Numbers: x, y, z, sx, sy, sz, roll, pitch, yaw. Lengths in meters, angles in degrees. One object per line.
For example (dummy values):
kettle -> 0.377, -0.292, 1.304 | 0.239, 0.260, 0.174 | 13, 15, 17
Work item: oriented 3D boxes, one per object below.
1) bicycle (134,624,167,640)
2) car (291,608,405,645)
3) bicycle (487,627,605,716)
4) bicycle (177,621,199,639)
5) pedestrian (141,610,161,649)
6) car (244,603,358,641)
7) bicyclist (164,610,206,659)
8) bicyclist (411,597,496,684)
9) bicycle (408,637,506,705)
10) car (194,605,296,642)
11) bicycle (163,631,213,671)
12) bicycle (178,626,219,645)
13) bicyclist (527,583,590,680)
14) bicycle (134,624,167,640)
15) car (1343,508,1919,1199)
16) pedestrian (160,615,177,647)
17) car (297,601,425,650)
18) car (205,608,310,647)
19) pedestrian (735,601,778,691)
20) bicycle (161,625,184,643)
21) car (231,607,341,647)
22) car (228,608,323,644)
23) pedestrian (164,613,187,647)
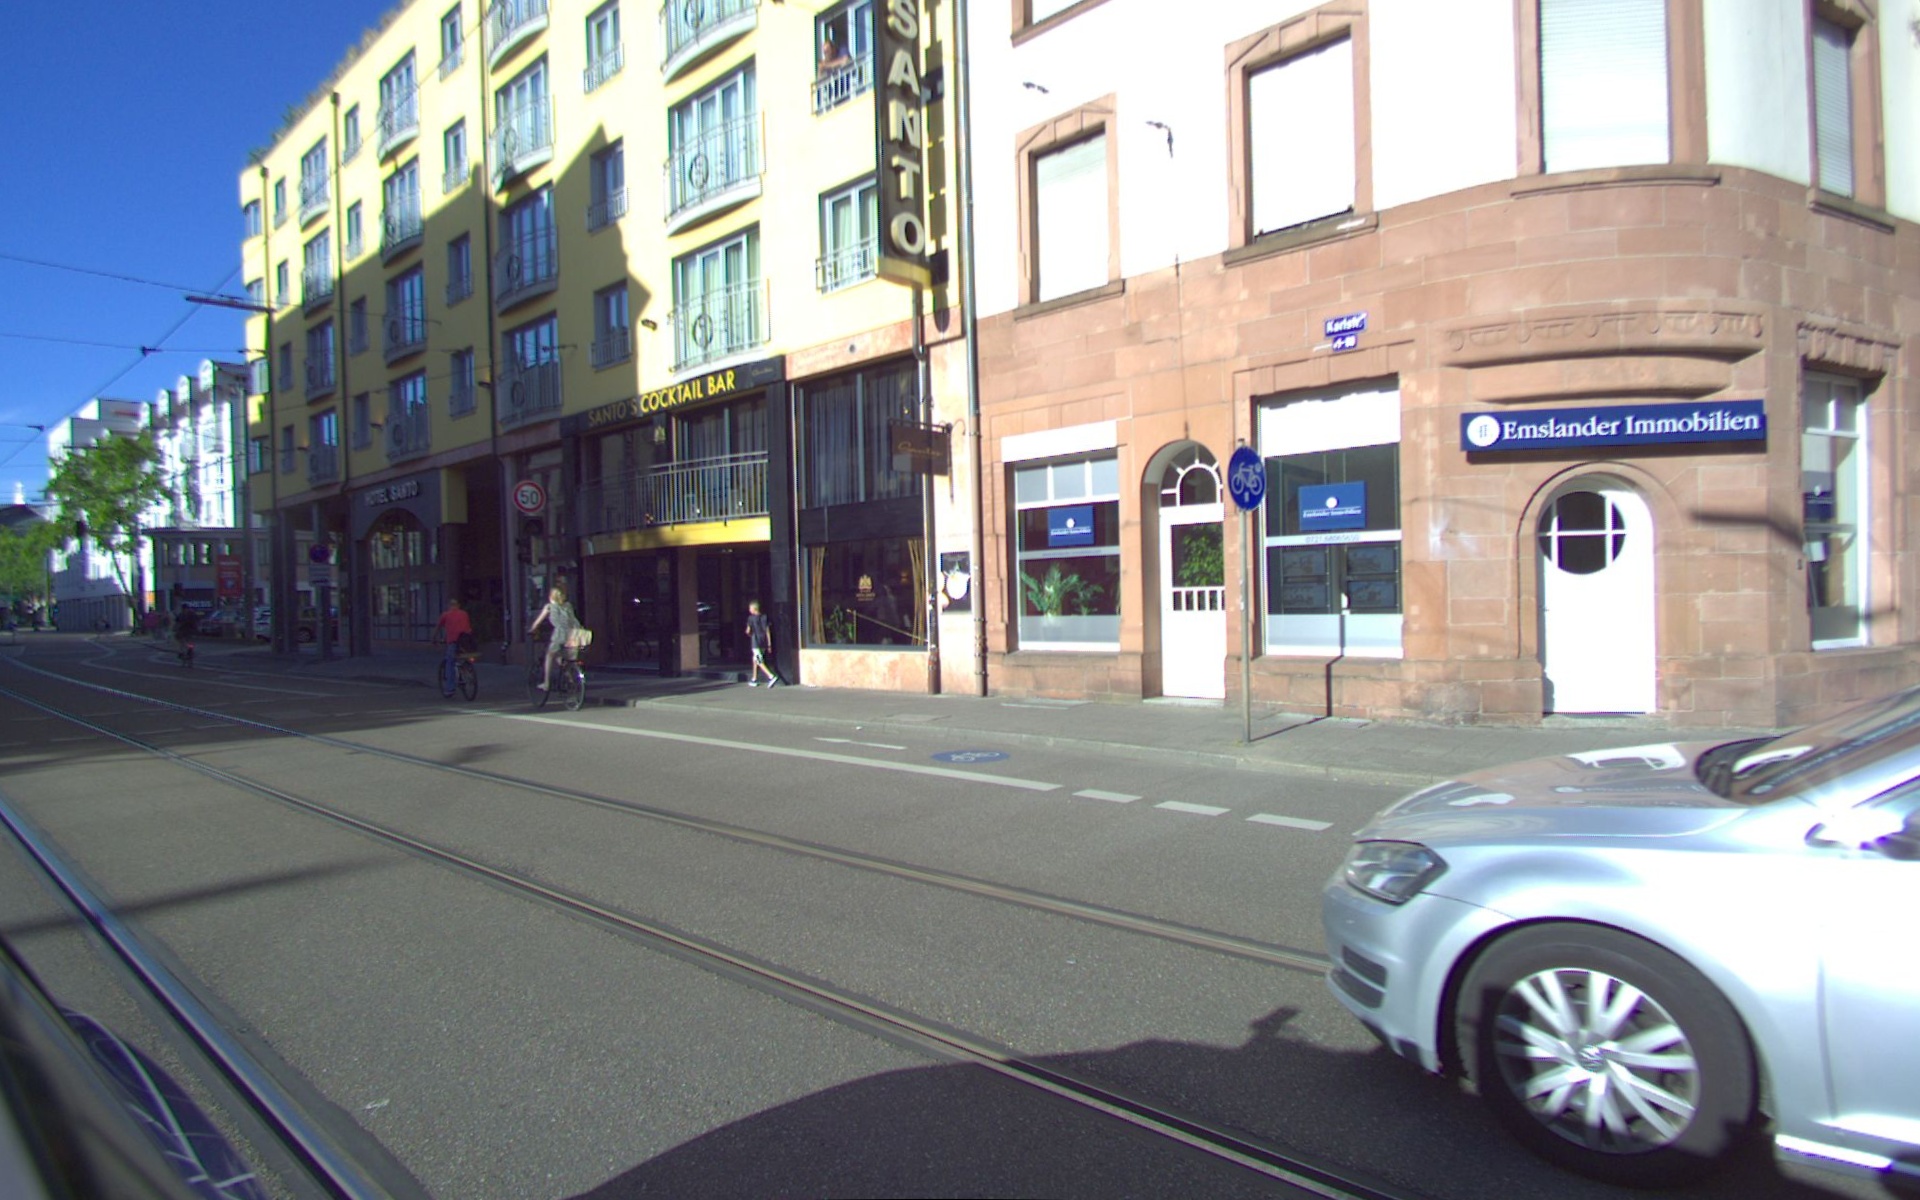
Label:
bicycle -> -59.607, 2.354, 74.550 | 1.850, 1.085, 0.465 | -2, 0, -41
car -> -28.316, 1.182, 46.893 | 1.784, 1.560, 4.189 | 1, 1, 41
bicycle -> -6.169, 1.022, 15.032 | 2.060, 1.192, 0.723 | -1, 0, 40
bicycle -> -46.226, 1.795, 60.577 | 1.874, 1.088, 0.459 | -2, 0, 34
pedestrian -> -41.190, 1.503, 51.514 | 0.708, 1.961, 0.631 | -2, 0, 40
car -> -31.098, 1.021, 47.831 | 1.785, 1.621, 4.188 | -4, -2, 42
bicyclist -> -23.025, 1.026, 30.073 | 1.227, 1.391, 0.717 | -1, 0, 40
bicyclist -> -8.572, 0.675, 17.110 | 1.467, 1.391, 0.728 | -1, 0, 40
bicycle -> -8.502, 1.162, 17.062 | 2.060, 1.073, 0.723 | -2, -2, 40
car -> -38.515, 1.260, 54.572 | 1.784, 1.825, 4.190 | -2, 0, 41
bicycle -> -22.876, 1.488, 29.960 | 2.060, 1.096, 0.723 | -2, 0, 40
bicycle -> -44.896, 2.087, 59.660 | 1.847, 1.044, 0.427 | -2, 0, -24
bicyclist -> -5.918, 0.458, 14.907 | 0.678, 1.386, 0.584 | -2, 0, 40
bicycle -> -59.296, 2.345, 74.165 | 1.850, 1.085, 0.465 | -2, 0, -41
car -> 3.320, 0.534, 2.098 | 4.305, 1.513, 1.965 | -2, 0, 40
pedestrian -> -40.637, 1.580, 51.939 | 0.499, 1.629, 0.566 | -2, 0, 40
car -> -24.751, 1.002, 41.895 | 1.785, 1.825, 4.189 | -1, 1, 42
car -> -36.650, 1.411, 52.840 | 1.785, 1.825, 4.189 | -2, 0, 42
pedestrian -> -3.279, 0.737, 16.310 | 0.514, 1.421, 0.401 | -2, 0, 33
bicycle -> -47.122, 2.029, 60.521 | 1.874, 1.044, 0.519 | -2, 0, 34
car -> -32.907, 1.280, 49.474 | 1.784, 1.825, 4.189 | 1, 1, 41
car -> -34.728, 1.289, 51.394 | 1.784, 1.685, 3.651 | -2, 0, 41
pedestrian -> -41.640, 1.593, 53.697 | 0.778, 1.777, 0.708 | -2, 0, 33
